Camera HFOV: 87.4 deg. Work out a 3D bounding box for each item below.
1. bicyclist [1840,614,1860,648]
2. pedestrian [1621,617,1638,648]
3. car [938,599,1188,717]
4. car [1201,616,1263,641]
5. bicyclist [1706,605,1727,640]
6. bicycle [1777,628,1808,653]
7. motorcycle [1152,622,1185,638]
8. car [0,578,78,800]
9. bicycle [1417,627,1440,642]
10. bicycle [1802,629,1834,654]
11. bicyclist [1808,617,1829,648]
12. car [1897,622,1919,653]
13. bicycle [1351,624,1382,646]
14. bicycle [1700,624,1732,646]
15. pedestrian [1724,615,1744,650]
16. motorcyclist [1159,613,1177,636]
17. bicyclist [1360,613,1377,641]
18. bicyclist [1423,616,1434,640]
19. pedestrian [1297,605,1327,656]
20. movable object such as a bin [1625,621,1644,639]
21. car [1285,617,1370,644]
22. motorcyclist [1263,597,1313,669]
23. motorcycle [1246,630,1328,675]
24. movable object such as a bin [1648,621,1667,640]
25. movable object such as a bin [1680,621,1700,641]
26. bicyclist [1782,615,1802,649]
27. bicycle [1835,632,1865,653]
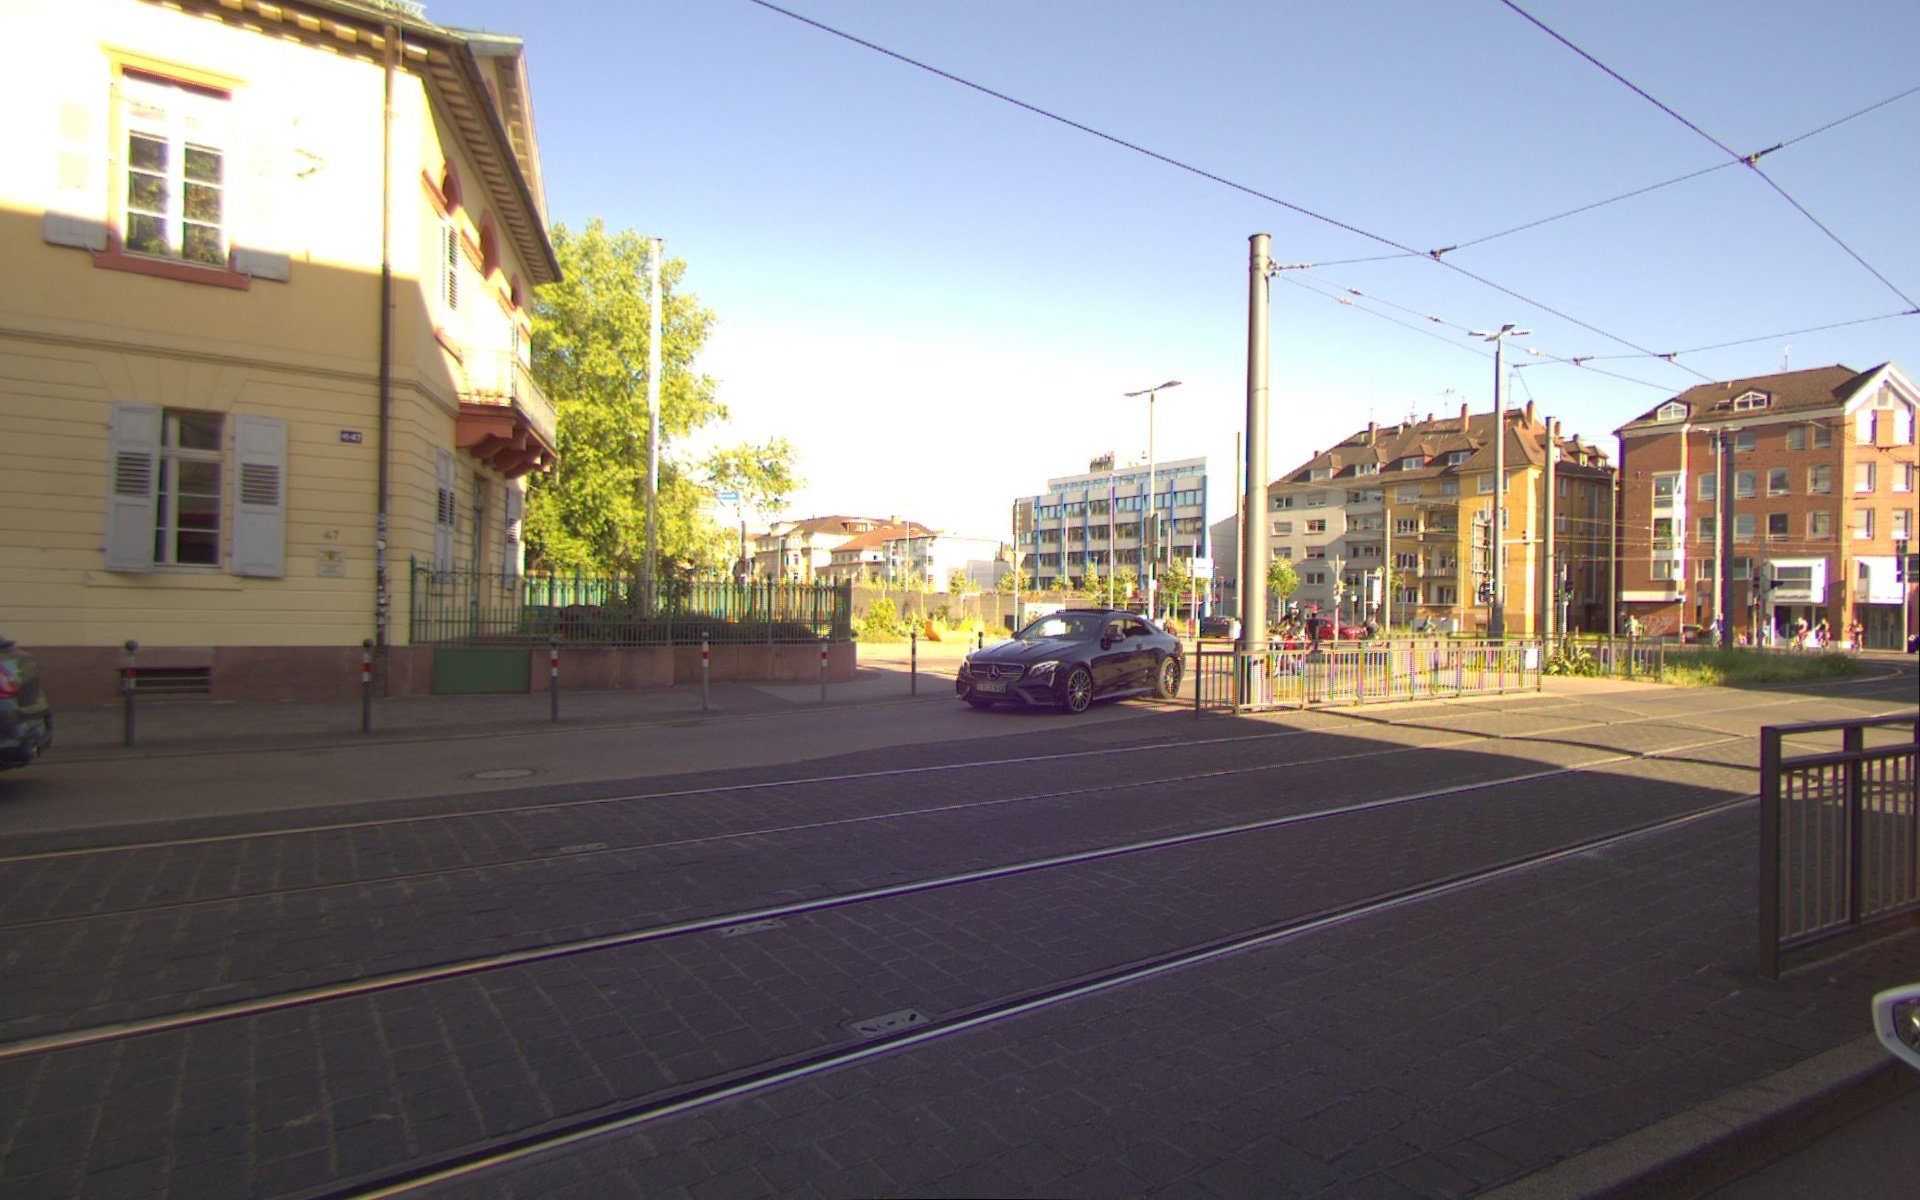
[{"bbox_3d":[45.200,1.582,51.011,0.761,1.695,0.522,2,0,-28],"label":"bicyclist"},{"bbox_3d":[38.168,1.844,57.286,0.700,1.711,0.619,-1,2,-42],"label":"pedestrian"},{"bbox_3d":[1.760,0.815,15.469,1.753,1.529,4.654,-1,-2,36],"label":"car"},{"bbox_3d":[17.648,1.818,65.285,1.560,1.491,3.673,2,0,-36],"label":"car"},{"bbox_3d":[37.328,1.095,49.584,0.761,1.695,0.518,2,0,-29],"label":"bicyclist"},{"bbox_3d":[42.399,2.048,51.156,1.862,1.230,0.527,2,0,-29],"label":"bicycle"},{"bbox_3d":[14.442,2.081,69.712,0.784,0.997,2.342,2,0,-36],"label":"motorcycle"},{"bbox_3d":[-8.422,0.596,6.601,3.827,1.529,1.763,1,-2,-39],"label":"car"},{"bbox_3d":[27.095,1.994,58.130,1.160,0.774,0.318,2,0,45],"label":"bicycle"},{"bbox_3d":[46.854,2.253,54.853,2.000,1.308,0.571,2,0,-27],"label":"bicycle"},{"bbox_3d":[46.901,1.787,54.867,0.796,1.671,0.586,2,0,-26],"label":"bicyclist"},{"bbox_3d":[51.815,2.025,53.524,4.074,1.581,1.676,2,0,-30],"label":"car"},{"bbox_3d":[22.139,1.905,54.704,0.608,1.148,1.481,2,-1,-43],"label":"bicycle"},{"bbox_3d":[37.335,1.716,49.599,1.862,1.027,0.527,2,0,-29],"label":"bicycle"},{"bbox_3d":[45.374,1.916,58.864,0.819,2.040,0.592,2,0,-27],"label":"pedestrian"},{"bbox_3d":[14.437,1.725,69.722,0.775,1.544,0.914,2,0,-36],"label":"motorcyclist"},{"bbox_3d":[22.222,1.450,54.621,0.605,1.513,0.608,2,0,-44],"label":"bicyclist"},{"bbox_3d":[27.093,1.628,58.113,0.453,1.333,0.397,2,0,44],"label":"bicyclist"},{"bbox_3d":[13.735,1.172,39.193,0.784,1.959,0.724,2,0,-9],"label":"pedestrian"},{"bbox_3d":[54.418,2.410,81.064,1.087,1.456,0.988,2,0,-39],"label":"movable object such as a bin"},{"bbox_3d":[21.794,1.805,59.683,1.768,1.529,4.513,1,-2,-39],"label":"car"},{"bbox_3d":[7.369,0.735,22.551,0.876,1.579,0.647,2,0,-36],"label":"motorcyclist"},{"bbox_3d":[7.354,1.171,22.551,2.135,0.939,0.595,2,0,-36],"label":"motorcycle"},{"bbox_3d":[55.452,2.435,79.878,1.087,1.456,0.988,2,0,-39],"label":"movable object such as a bin"},{"bbox_3d":[56.697,2.406,77.966,1.087,1.456,0.988,2,0,-39],"label":"movable object such as a bin"},{"bbox_3d":[42.337,1.643,51.114,0.761,1.695,0.518,2,0,-29],"label":"bicyclist"},{"bbox_3d":[45.205,2.149,51.024,1.873,1.027,0.527,2,0,-29],"label":"bicycle"}]
